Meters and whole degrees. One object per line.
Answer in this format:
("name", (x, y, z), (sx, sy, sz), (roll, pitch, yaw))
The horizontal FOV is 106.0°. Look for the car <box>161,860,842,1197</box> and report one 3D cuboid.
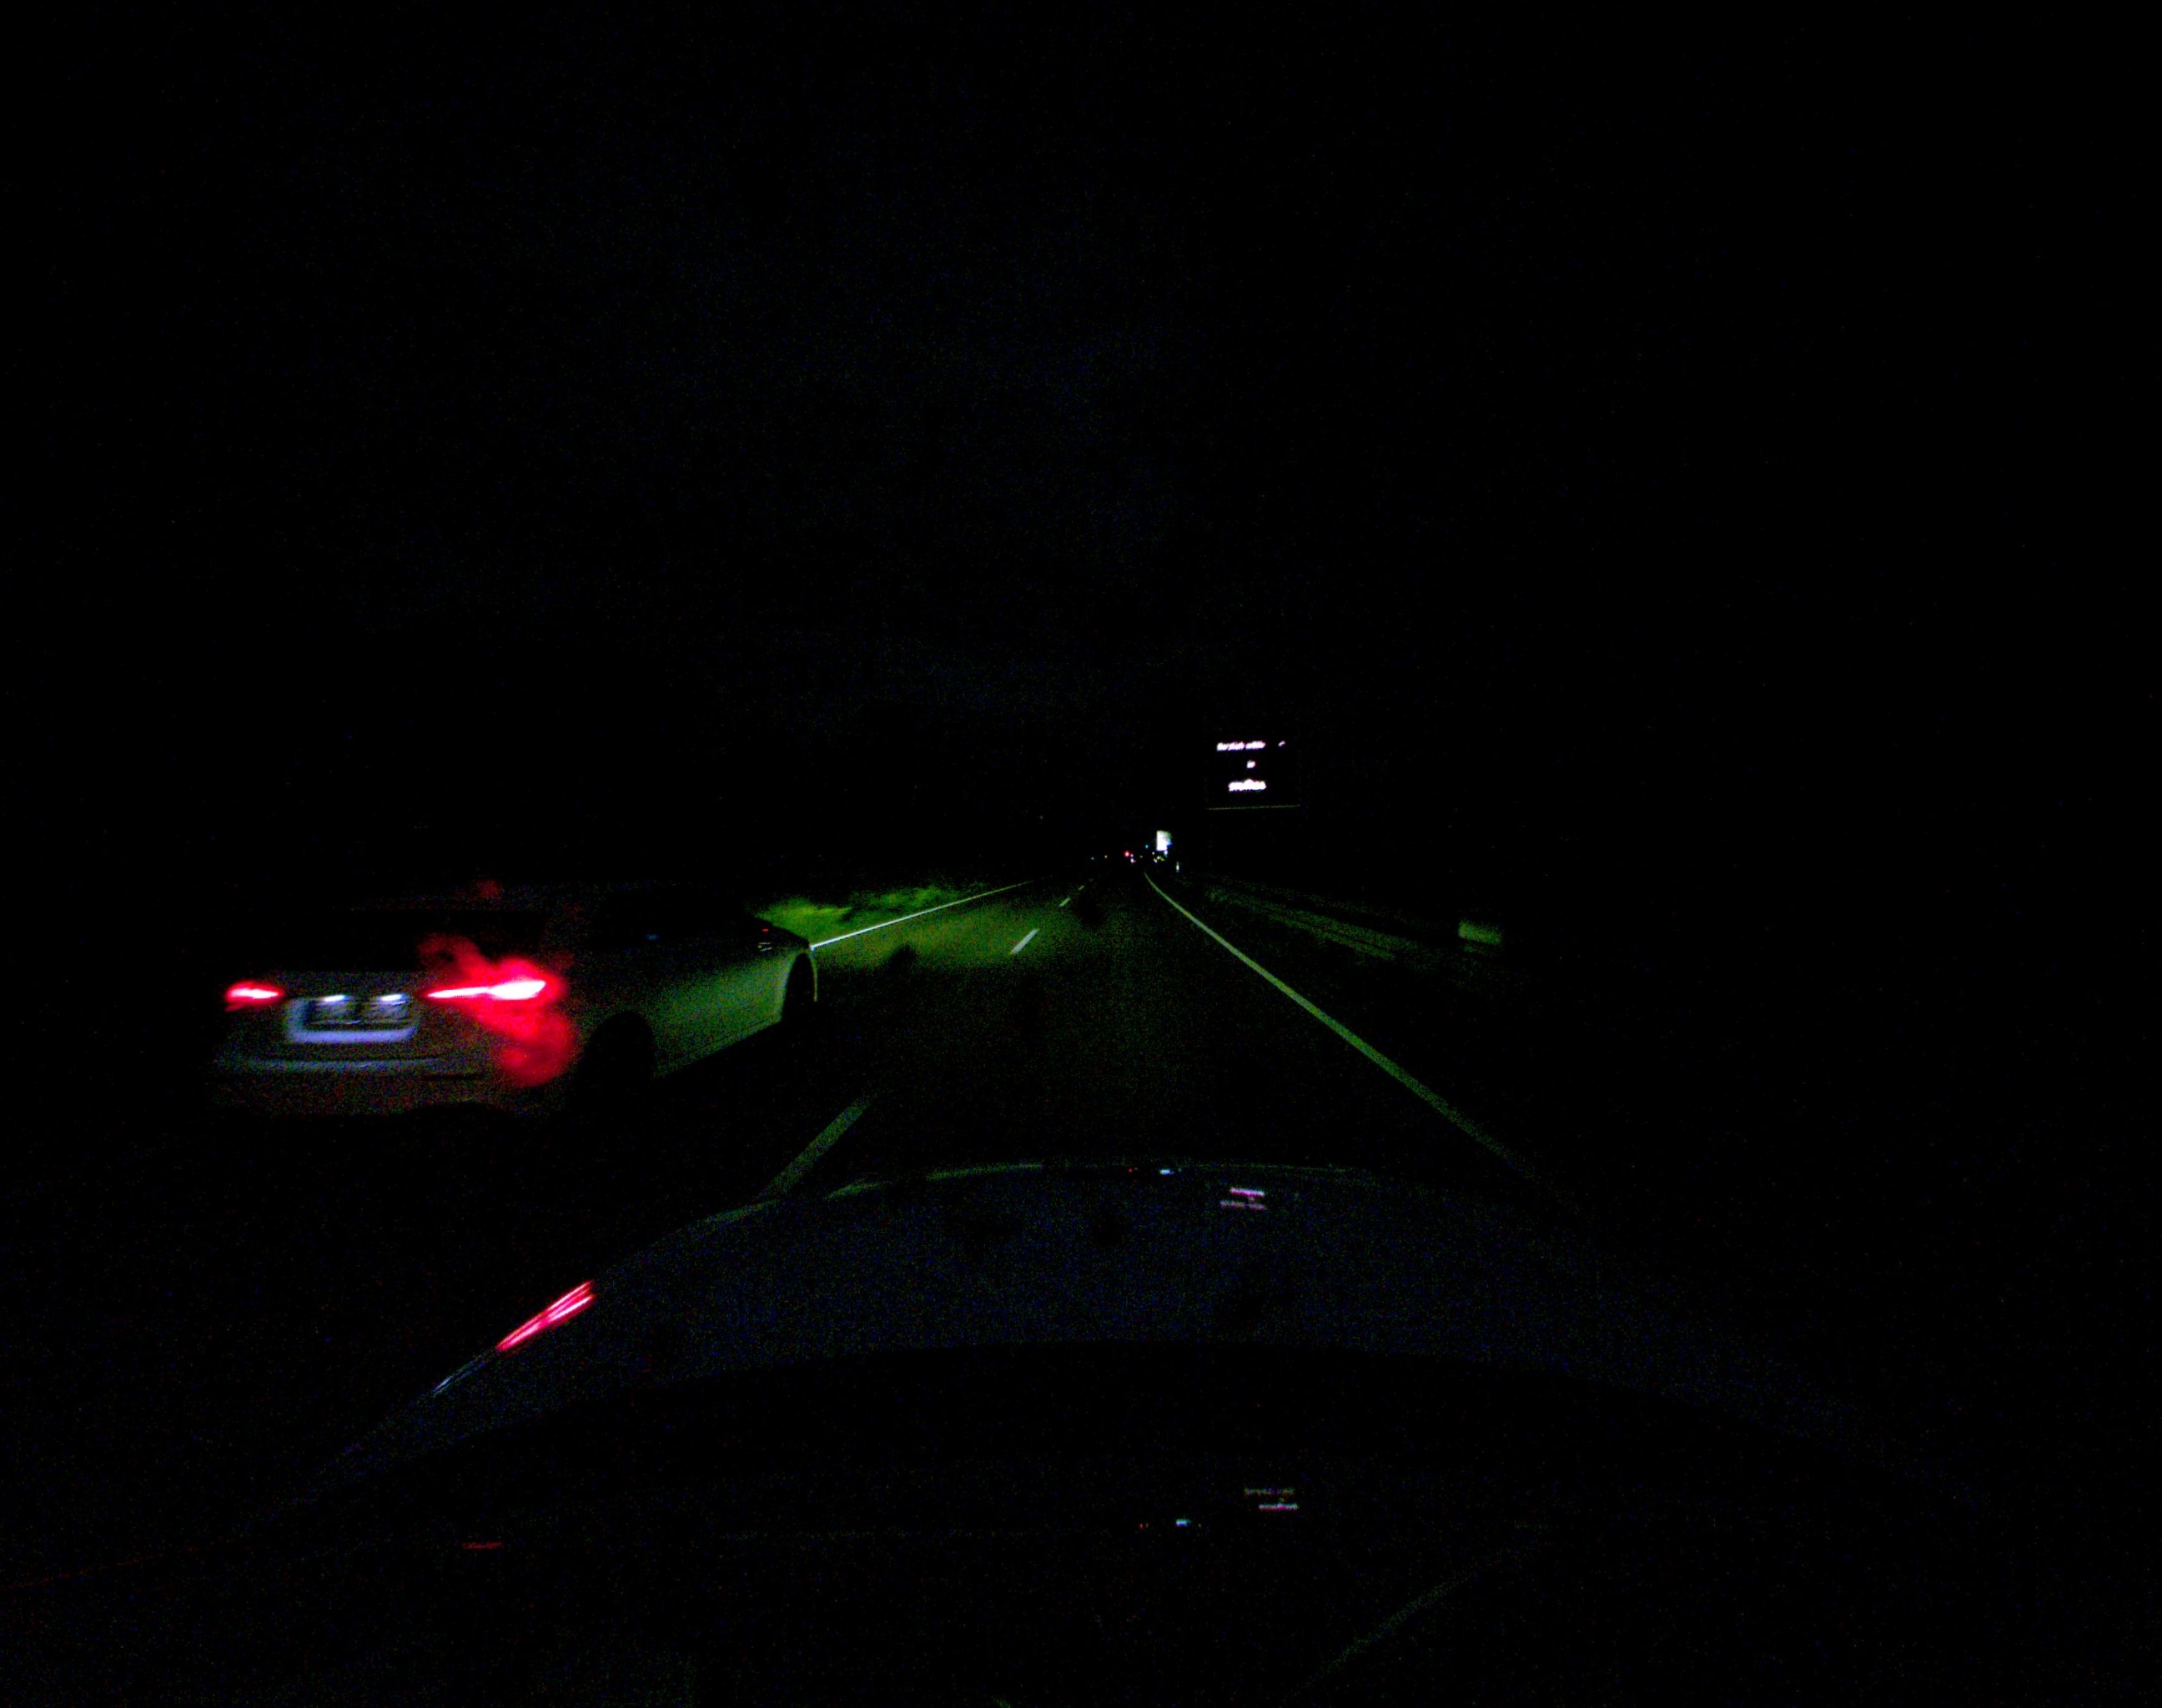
("car", (-3.293, 0.806, 5.973), (1.636, 1.490, 4.580), (-1, 0, 1))
